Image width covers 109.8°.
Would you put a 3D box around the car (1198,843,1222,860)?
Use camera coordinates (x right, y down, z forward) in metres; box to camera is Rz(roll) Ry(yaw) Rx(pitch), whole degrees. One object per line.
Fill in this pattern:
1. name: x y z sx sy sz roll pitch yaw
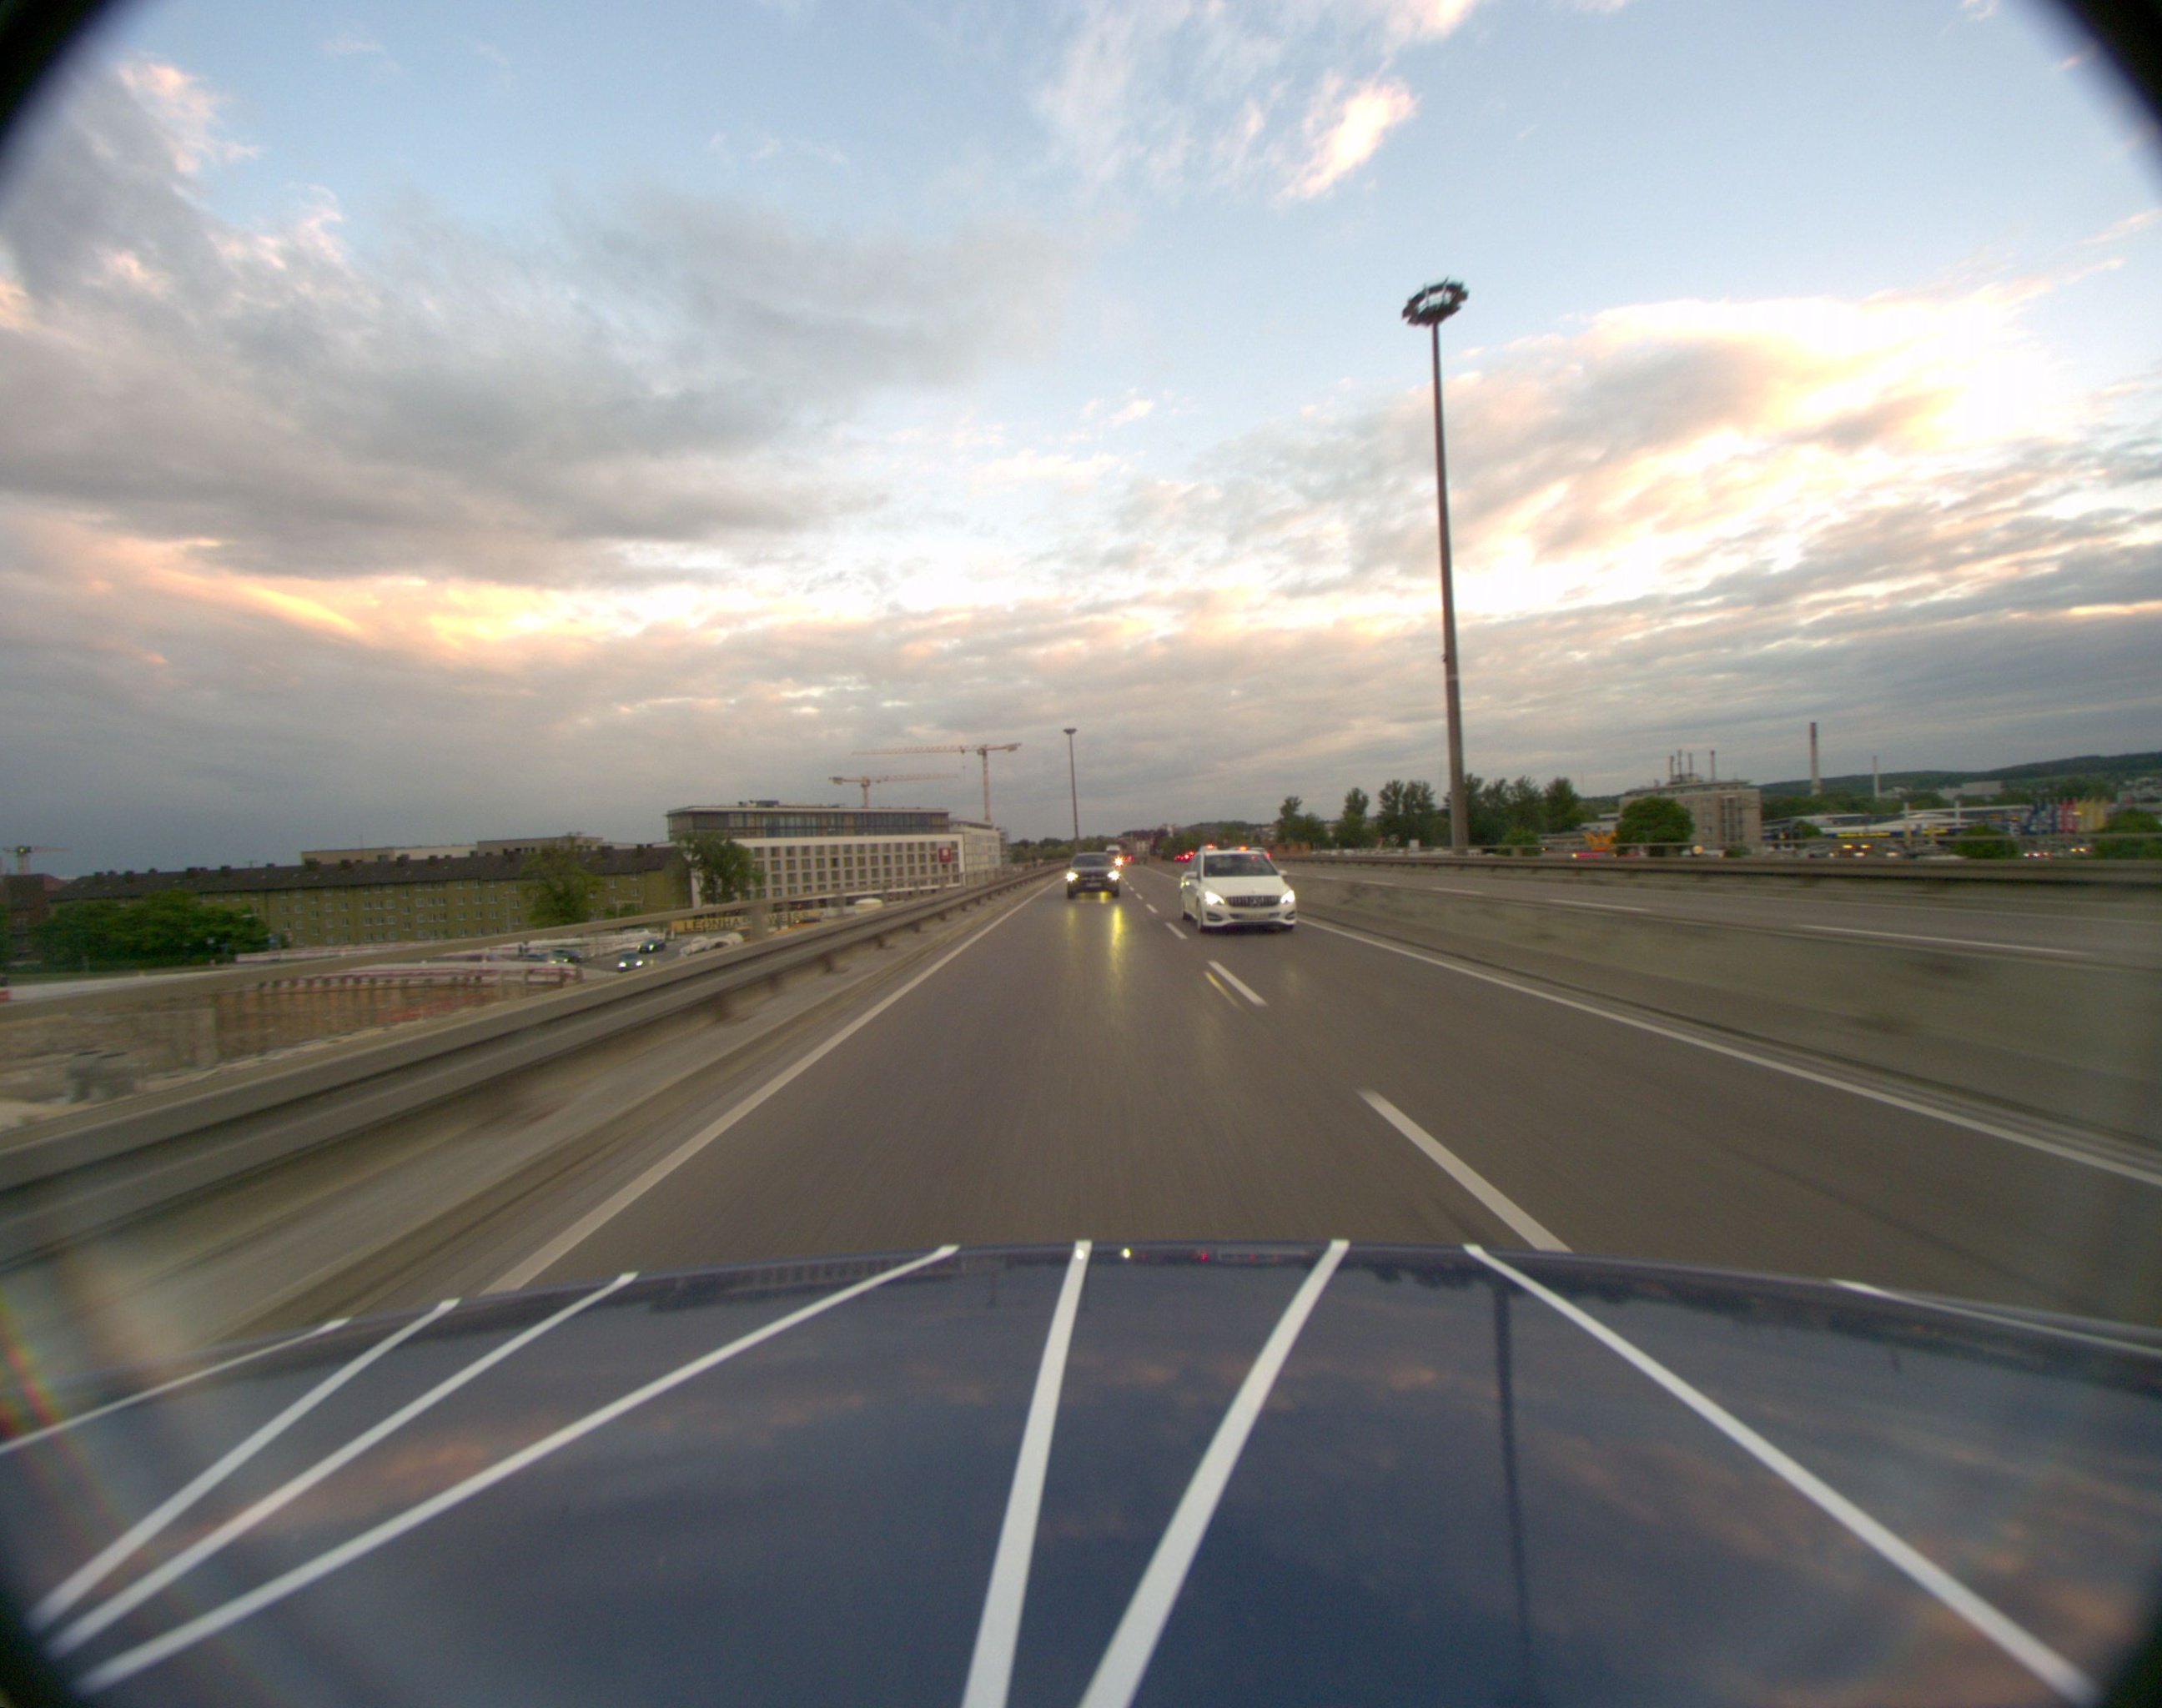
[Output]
1. car: 15.087 -0.256 89.223 1.906 1.889 5.459 -2 0 1

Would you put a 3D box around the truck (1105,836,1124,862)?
1. truck: 6.188 -0.911 139.112 3.165 4.369 8.795 -2 1 4

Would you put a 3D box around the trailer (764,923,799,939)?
1. trailer: -41.018 10.546 104.259 1.998 1.339 5.874 -8 -1 2

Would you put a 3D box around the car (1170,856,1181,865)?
1. car: 18.516 1.308 148.622 1.660 1.584 4.043 -2 1 3

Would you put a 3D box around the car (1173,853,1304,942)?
1. car: 3.080 0.797 15.894 1.695 1.528 4.784 -2 -1 0

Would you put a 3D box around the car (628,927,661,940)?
1. car: -63.977 11.652 111.406 4.007 1.433 1.909 -3 -4 -37

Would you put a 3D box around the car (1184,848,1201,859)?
1. car: 16.416 -0.086 112.205 1.833 1.465 4.901 -2 0 0

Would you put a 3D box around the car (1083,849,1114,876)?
1. car: 1.148 0.609 51.632 1.891 1.641 4.344 -2 -1 0

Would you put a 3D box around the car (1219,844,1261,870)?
1. car: 9.741 0.189 46.728 1.633 1.432 3.836 -2 0 -1

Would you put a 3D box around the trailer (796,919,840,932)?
1. trailer: -37.879 10.285 109.745 5.876 1.340 2.024 -2 1 -17

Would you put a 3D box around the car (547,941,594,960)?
1. car: -55.738 10.494 82.925 4.095 1.710 1.804 -2 3 12

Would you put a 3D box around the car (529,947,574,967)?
1. car: -54.682 10.654 78.524 3.788 1.729 1.647 -4 1 16

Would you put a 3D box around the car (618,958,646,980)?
1. car: -45.138 11.504 76.381 2.003 1.865 5.084 -4 -4 -34

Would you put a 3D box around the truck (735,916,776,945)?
1. truck: -41.390 9.684 96.888 2.163 2.930 7.336 -5 -1 -3

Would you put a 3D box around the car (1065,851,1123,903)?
1. car: 0.469 0.731 26.235 1.823 1.602 4.213 -1 0 2

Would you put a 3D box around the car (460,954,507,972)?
1. car: -62.660 11.430 79.702 3.762 1.609 1.650 -3 1 8

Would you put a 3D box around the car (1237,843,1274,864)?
1. car: 13.346 -0.057 58.456 1.835 1.494 4.817 -1 0 2
